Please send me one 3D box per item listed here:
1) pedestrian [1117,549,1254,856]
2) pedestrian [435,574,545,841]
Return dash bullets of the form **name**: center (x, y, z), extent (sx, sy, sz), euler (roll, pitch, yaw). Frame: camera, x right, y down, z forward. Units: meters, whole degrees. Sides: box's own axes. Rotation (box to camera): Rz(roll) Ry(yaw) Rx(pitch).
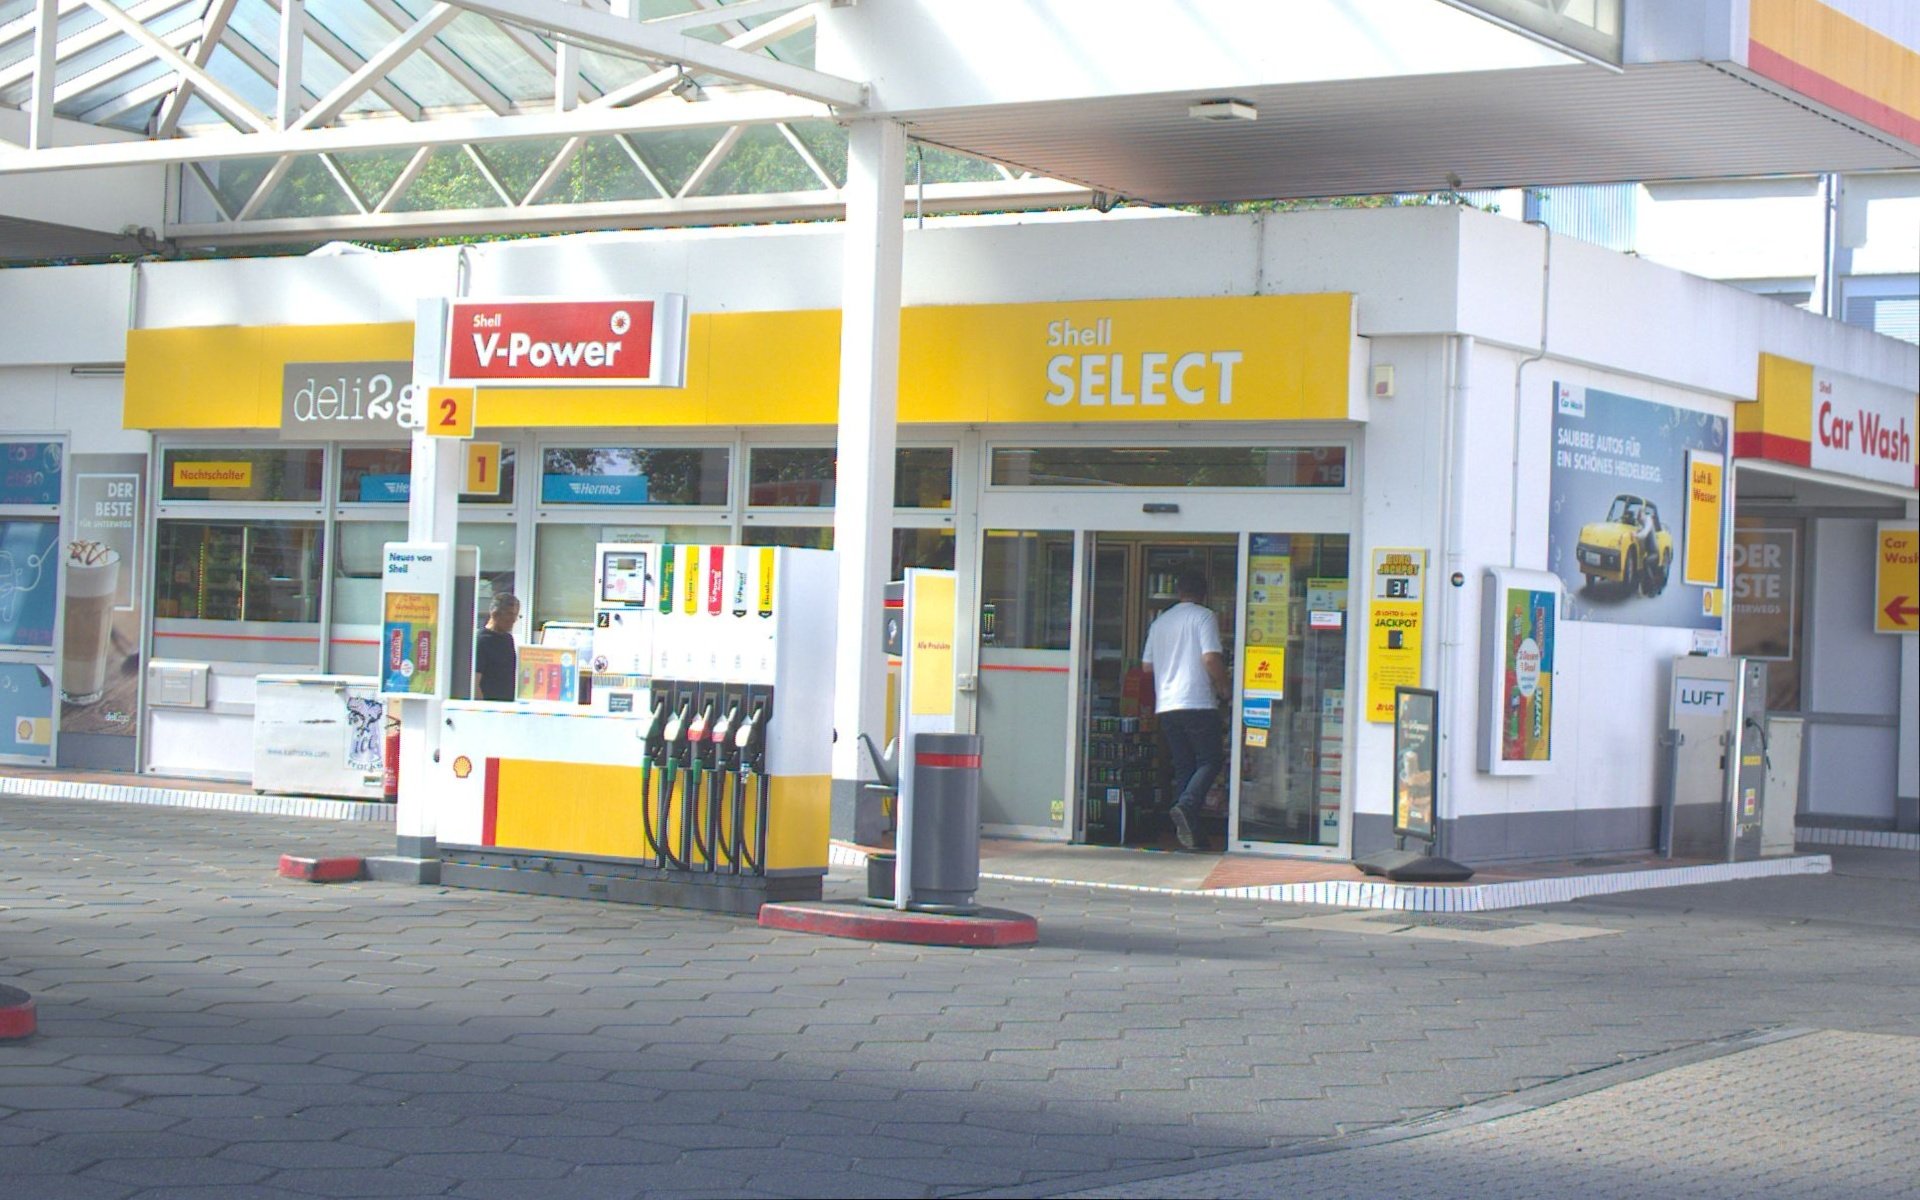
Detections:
- **pedestrian**: center (1.518, 0.683, 23.077), extent (0.622, 2.007, 0.741), euler (2, -1, 25)
- **pedestrian**: center (-3.167, 0.721, 23.192), extent (0.529, 1.756, 0.573), euler (2, -1, 7)
